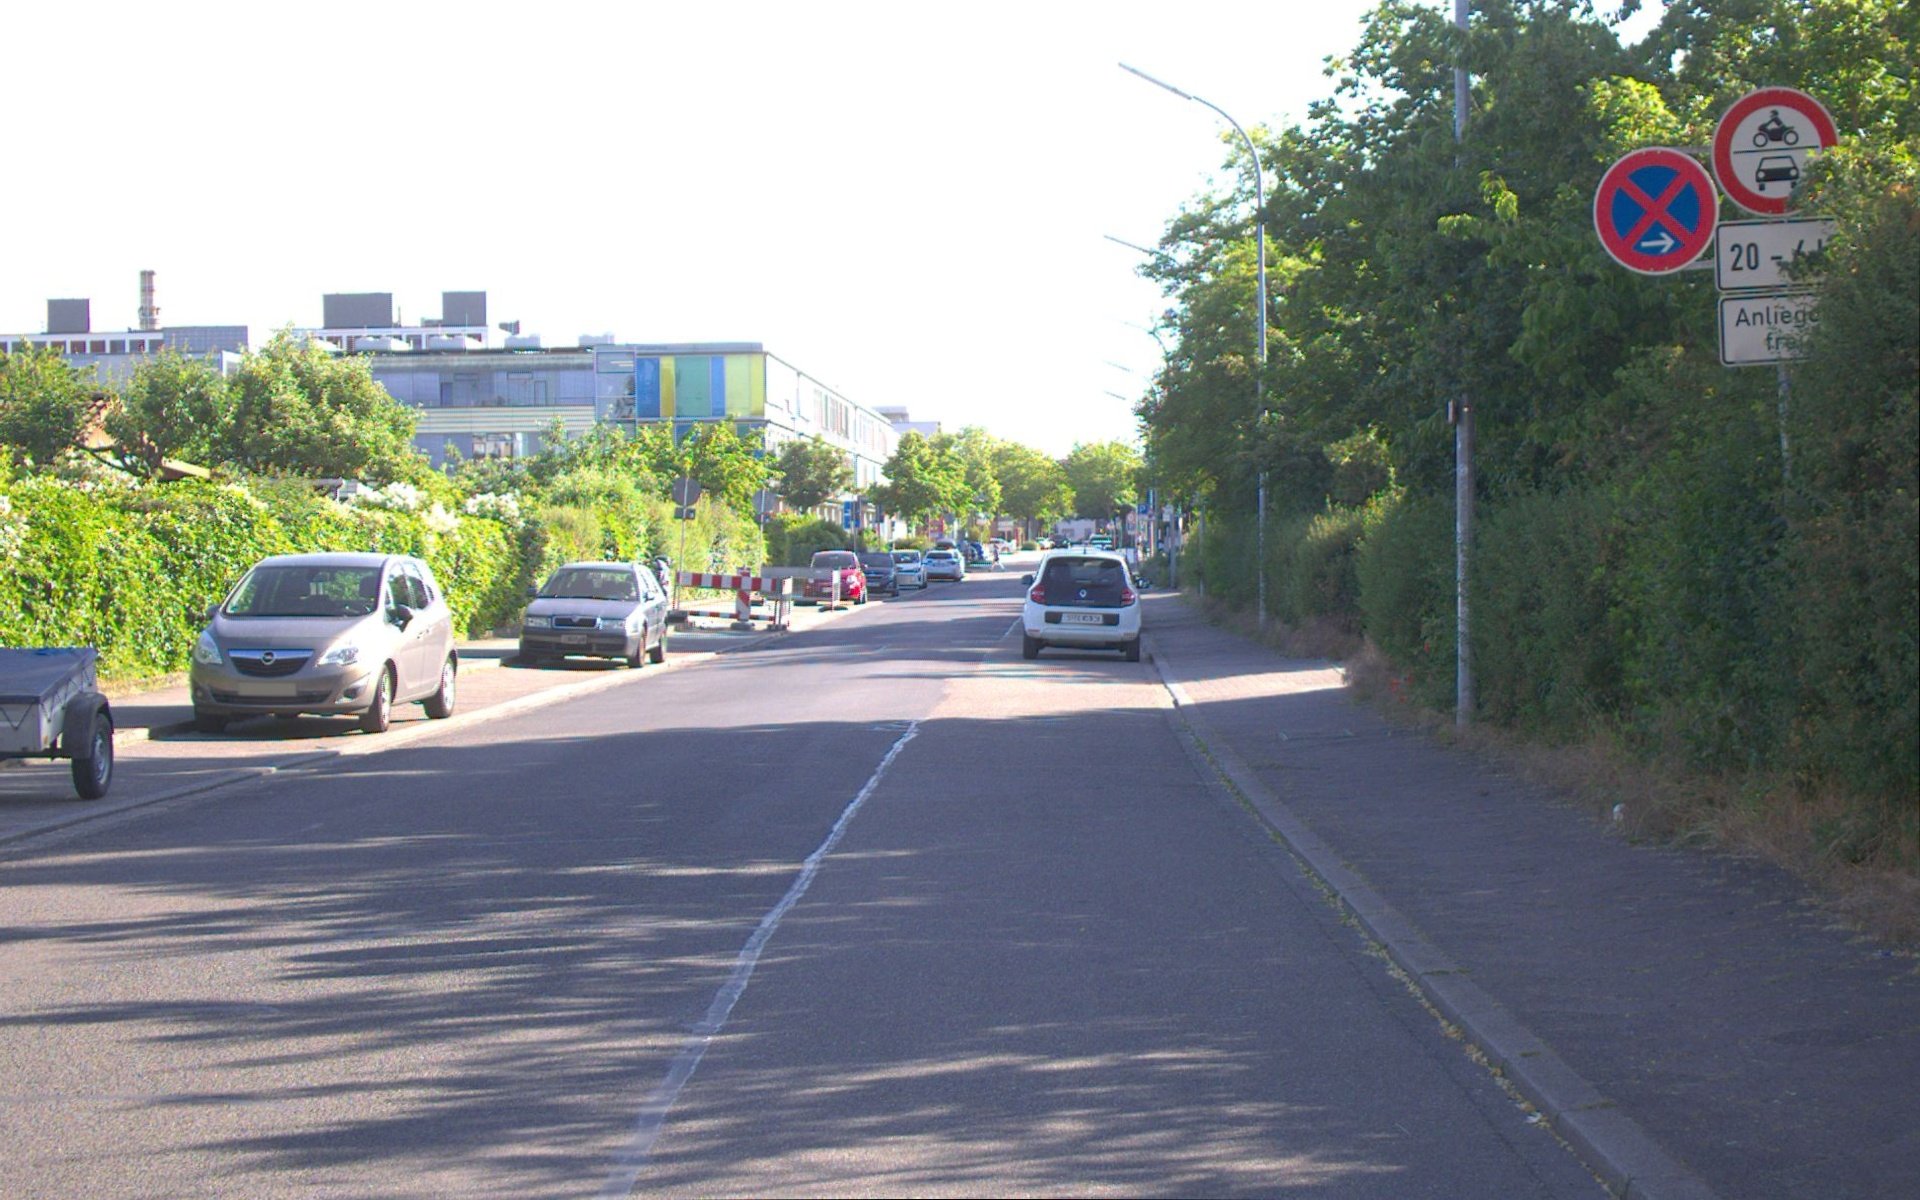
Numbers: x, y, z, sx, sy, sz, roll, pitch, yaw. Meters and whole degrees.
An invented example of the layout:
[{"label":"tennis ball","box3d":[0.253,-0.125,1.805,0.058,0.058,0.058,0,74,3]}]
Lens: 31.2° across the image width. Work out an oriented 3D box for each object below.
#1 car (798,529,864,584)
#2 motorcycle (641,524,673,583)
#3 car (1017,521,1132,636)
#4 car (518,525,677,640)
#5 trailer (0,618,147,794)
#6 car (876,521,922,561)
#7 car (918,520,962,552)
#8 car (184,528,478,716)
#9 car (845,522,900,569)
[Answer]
[{"label":"car","box3d":[-3.592,-1.237,96.173,1.560,1.489,3.570,-1,1,2]},{"label":"motorcycle","box3d":[-6.637,-1.023,75.339,0.566,1.264,2.091,0,1,-2]},{"label":"car","box3d":[1.649,-0.337,49.231,1.556,1.533,3.555,2,1,2]},{"label":"car","box3d":[-5.160,-0.291,49.377,1.643,1.551,4.417,-1,1,2]},{"label":"trailer","box3d":[-6.265,0.625,21.511,1.544,0.950,2.647,1,1,5]},{"label":"car","box3d":[-2.316,-2.273,131.434,1.560,1.489,3.758,-1,1,2]},{"label":"car","box3d":[-0.924,-3.003,160.765,1.854,1.423,4.134,1,1,2]},{"label":"car","box3d":[-5.743,0.144,31.874,1.644,1.594,4.311,1,1,4]},{"label":"car","box3d":[-2.906,-1.837,114.405,1.560,1.489,3.570,2,1,2]}]
